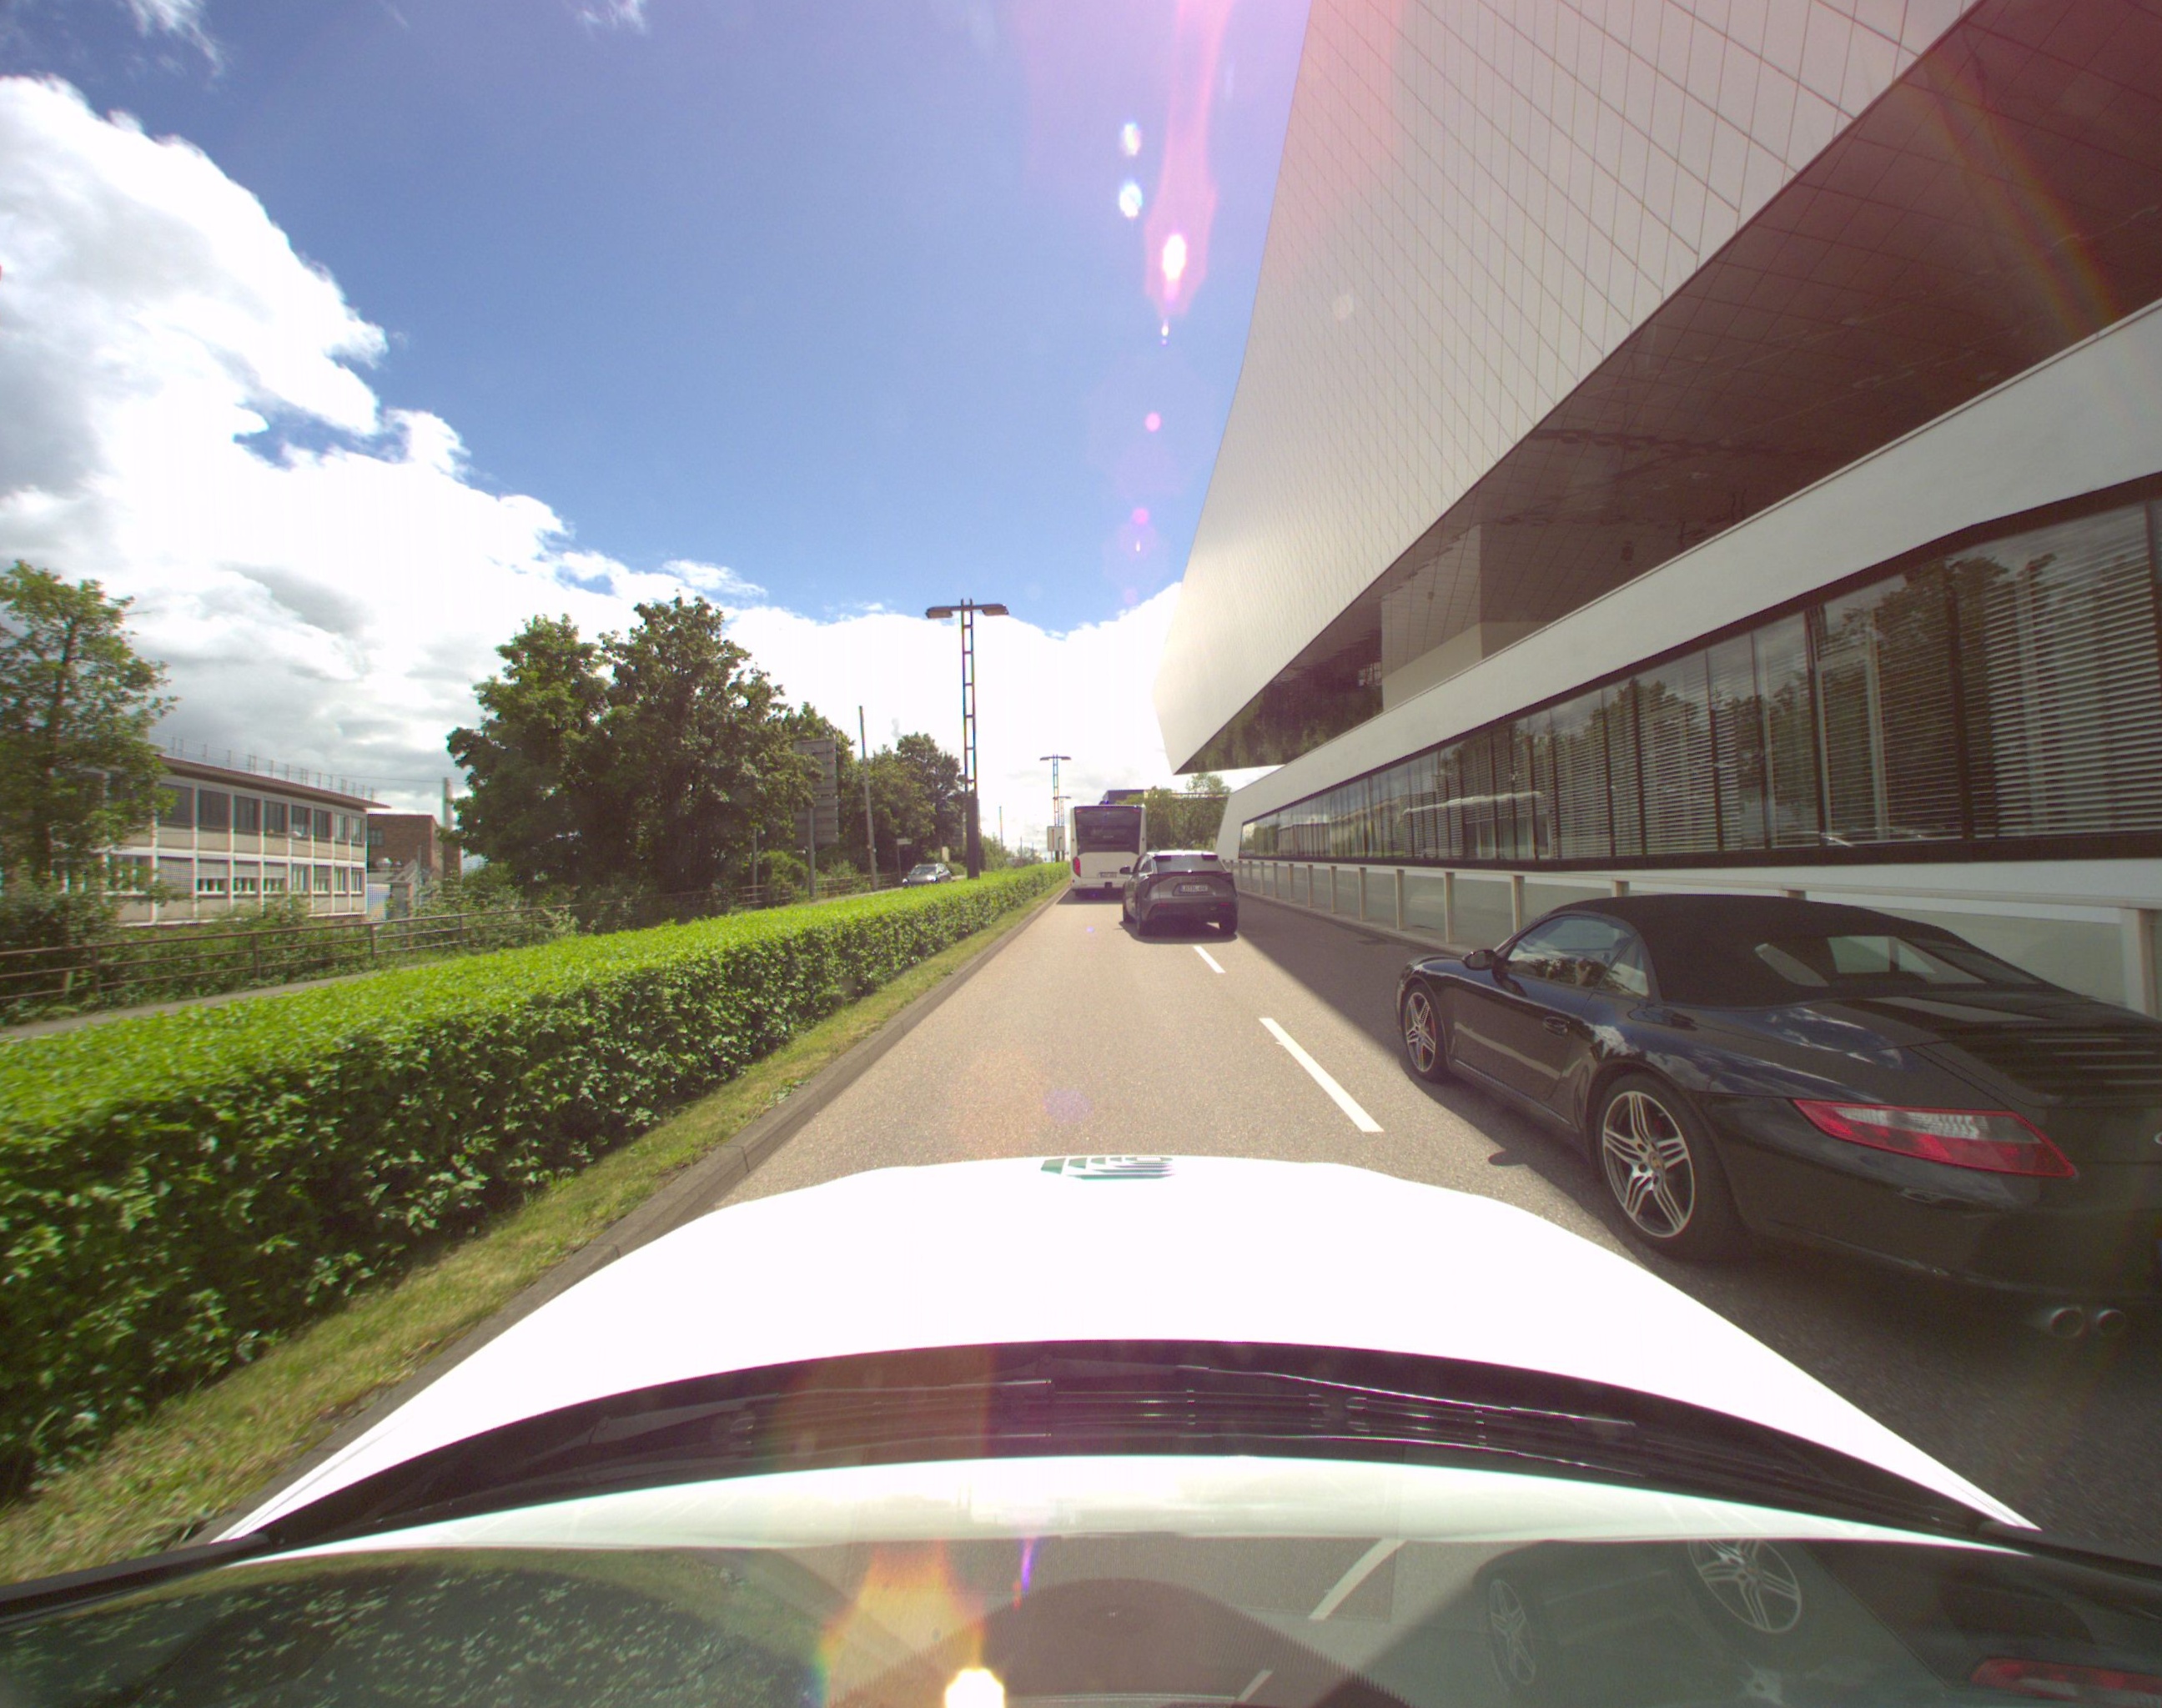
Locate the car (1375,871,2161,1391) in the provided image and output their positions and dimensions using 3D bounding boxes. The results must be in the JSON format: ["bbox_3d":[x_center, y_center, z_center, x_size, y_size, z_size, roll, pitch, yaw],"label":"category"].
[{"bbox_3d":[3.069,0.766,4.174,1.713,1.275,4.089,-1,-1,1],"label":"car"}]

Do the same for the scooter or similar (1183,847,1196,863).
[{"bbox_3d":[8.505,0.066,63.731,0.651,1.214,1.856,-3,-1,-2],"label":"scooter or similar"}]

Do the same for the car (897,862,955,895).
[{"bbox_3d":[-8.023,1.260,42.596,1.832,1.507,4.565,-3,0,3],"label":"car"}]

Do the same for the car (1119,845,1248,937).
[{"bbox_3d":[1.923,0.673,16.532,1.875,1.594,4.225,-1,-1,-3],"label":"car"}]

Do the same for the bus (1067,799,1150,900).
[{"bbox_3d":[1.109,-0.201,32.419,2.679,3.255,12.063,0,1,2],"label":"bus"}]
